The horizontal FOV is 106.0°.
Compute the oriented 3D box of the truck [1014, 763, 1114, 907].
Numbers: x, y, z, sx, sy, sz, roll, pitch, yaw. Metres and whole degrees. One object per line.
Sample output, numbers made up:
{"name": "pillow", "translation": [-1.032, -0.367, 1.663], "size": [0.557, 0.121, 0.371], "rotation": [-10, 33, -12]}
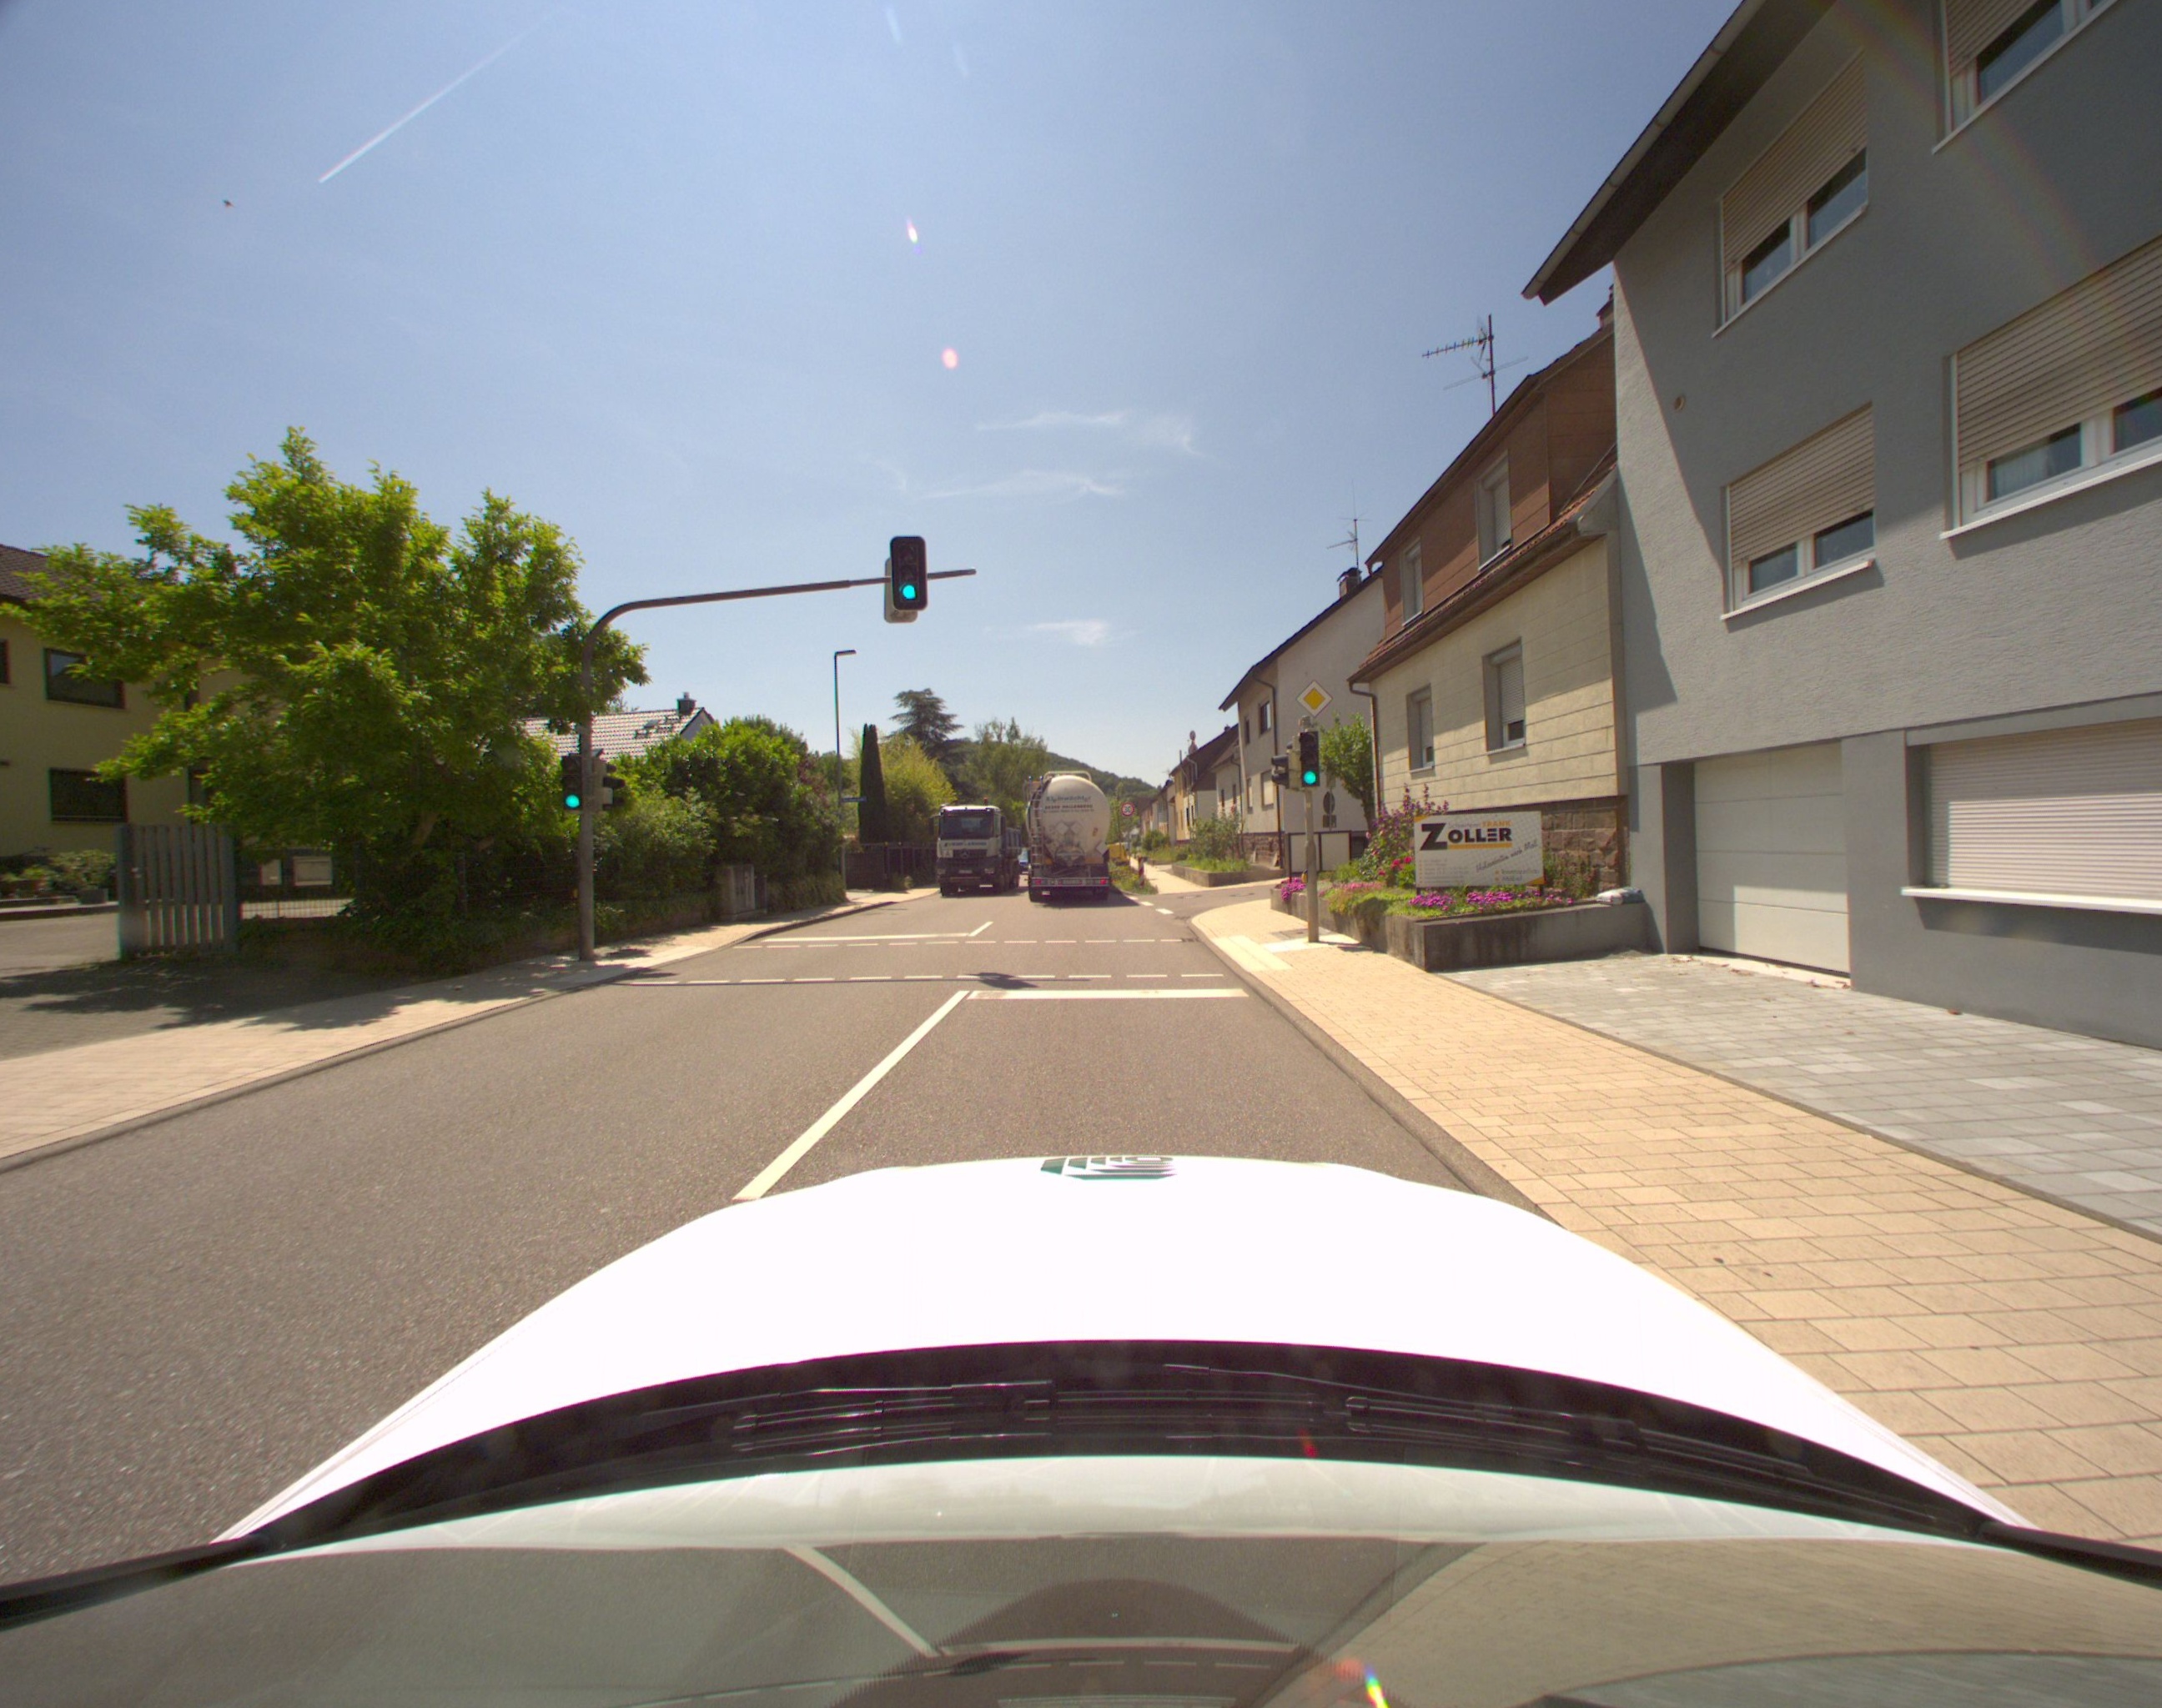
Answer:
{"name": "truck", "translation": [-0.268, -0.600, 28.674], "size": [2.739, 4.056, 10.896], "rotation": [-1, 0, 2]}

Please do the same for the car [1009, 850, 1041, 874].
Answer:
{"name": "car", "translation": [-3.916, 0.560, 57.763], "size": [1.881, 1.645, 4.614], "rotation": [0, -1, 1]}

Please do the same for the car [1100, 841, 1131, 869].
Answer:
{"name": "car", "translation": [2.836, 0.063, 67.789], "size": [2.182, 2.013, 5.623], "rotation": [-6, -1, 1]}

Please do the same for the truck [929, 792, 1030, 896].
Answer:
{"name": "truck", "translation": [-4.014, -0.395, 34.347], "size": [2.531, 3.738, 8.629], "rotation": [-3, 0, 3]}
